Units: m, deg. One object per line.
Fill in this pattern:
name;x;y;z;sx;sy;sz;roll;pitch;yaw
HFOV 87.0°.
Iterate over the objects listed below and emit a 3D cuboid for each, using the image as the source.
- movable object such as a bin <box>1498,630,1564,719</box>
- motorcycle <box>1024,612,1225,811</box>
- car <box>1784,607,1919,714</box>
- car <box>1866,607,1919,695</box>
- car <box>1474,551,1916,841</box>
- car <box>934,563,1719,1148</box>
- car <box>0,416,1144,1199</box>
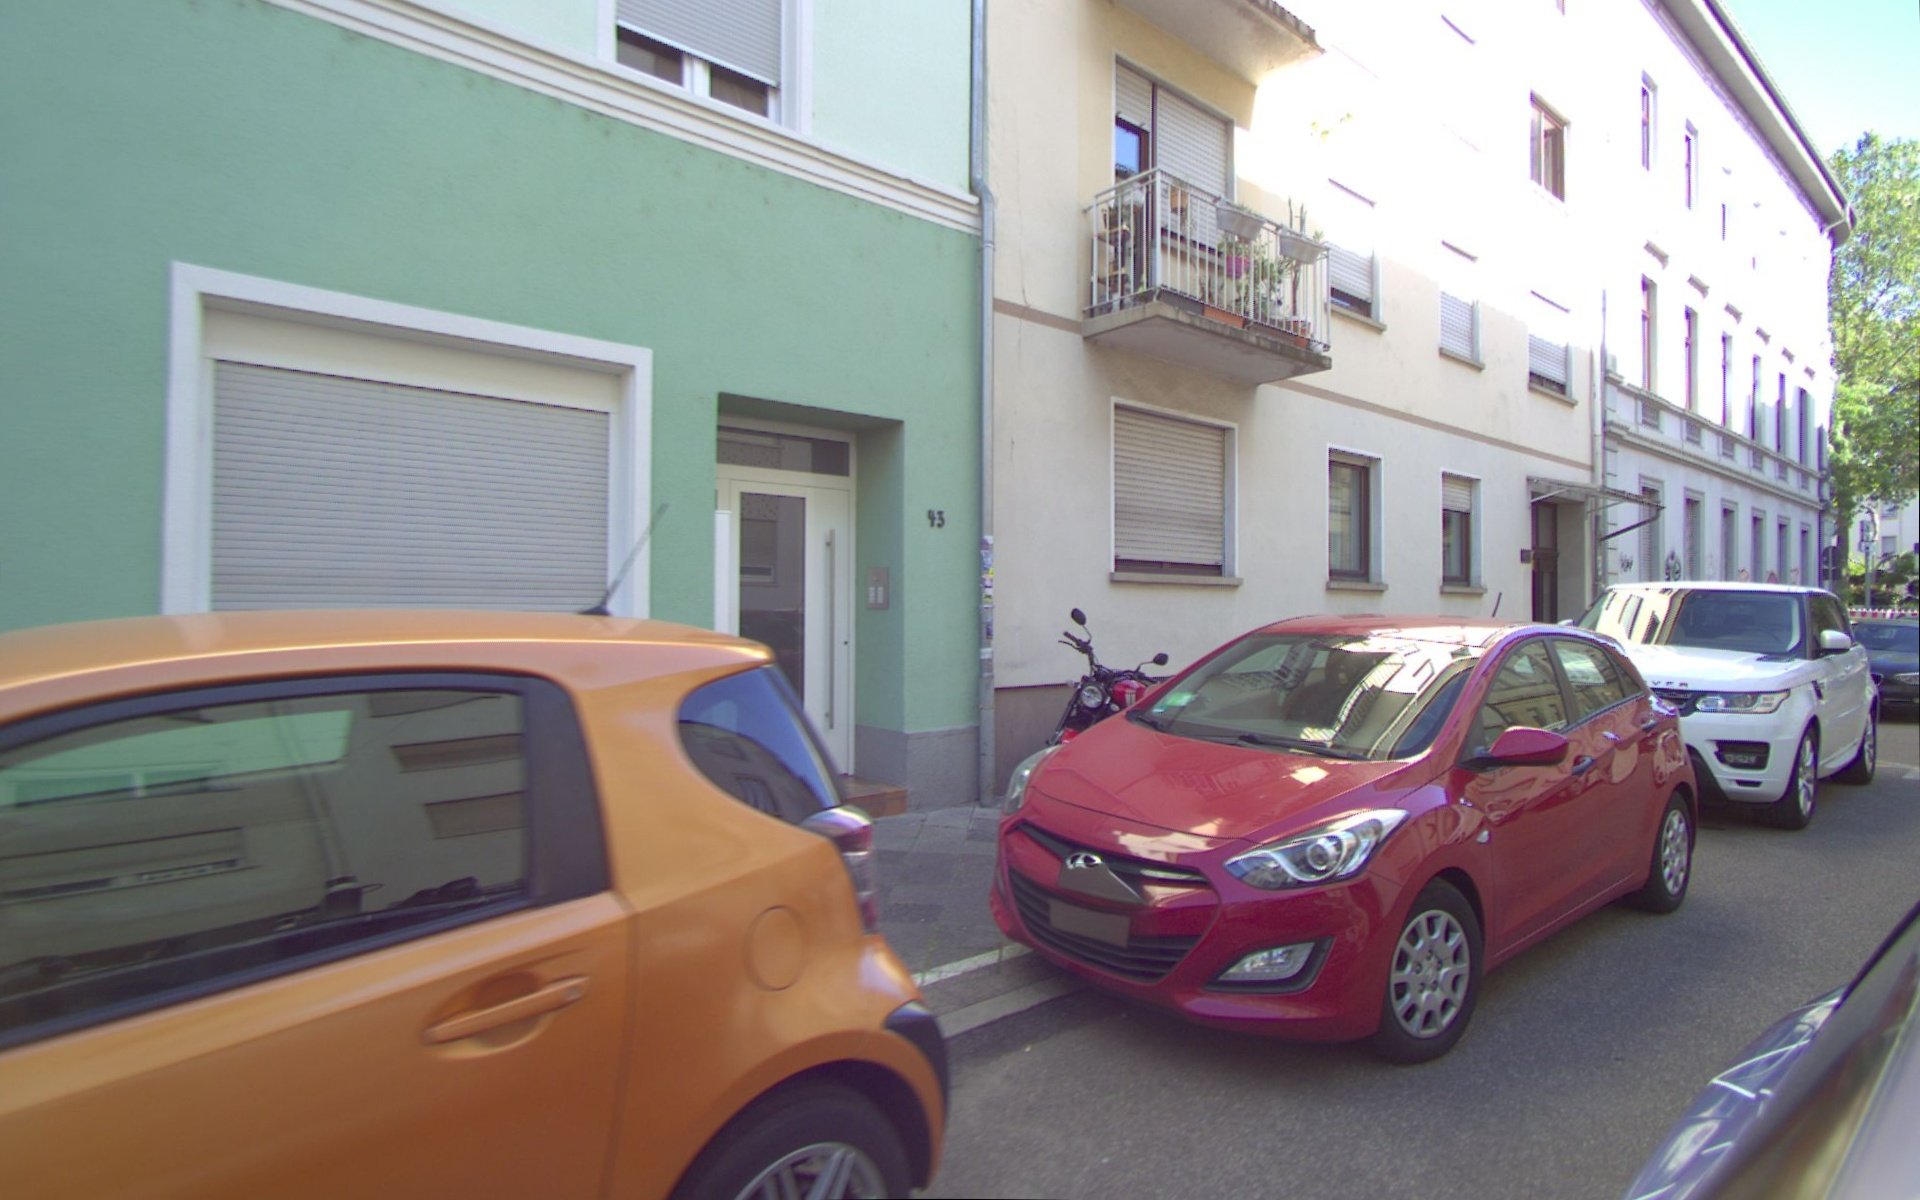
movable object such as a bin;7.371;0.939;13.071;0.542;1.084;0.579;1;0;-37
motorcycle;1.238;0.750;7.480;1.476;1.295;0.658;0;1;-41
car;14.210;0.875;15.517;3.801;1.467;1.749;1;-3;-41
car;18.730;0.908;19.080;4.644;1.539;1.817;1;-3;-41
car;6.485;0.632;8.690;4.851;1.806;2.009;1;-1;-41
car;1.956;0.717;4.728;3.961;1.589;1.745;1;-1;-41
car;-1.411;0.645;1.869;3.619;1.653;1.581;0;-2;-43
